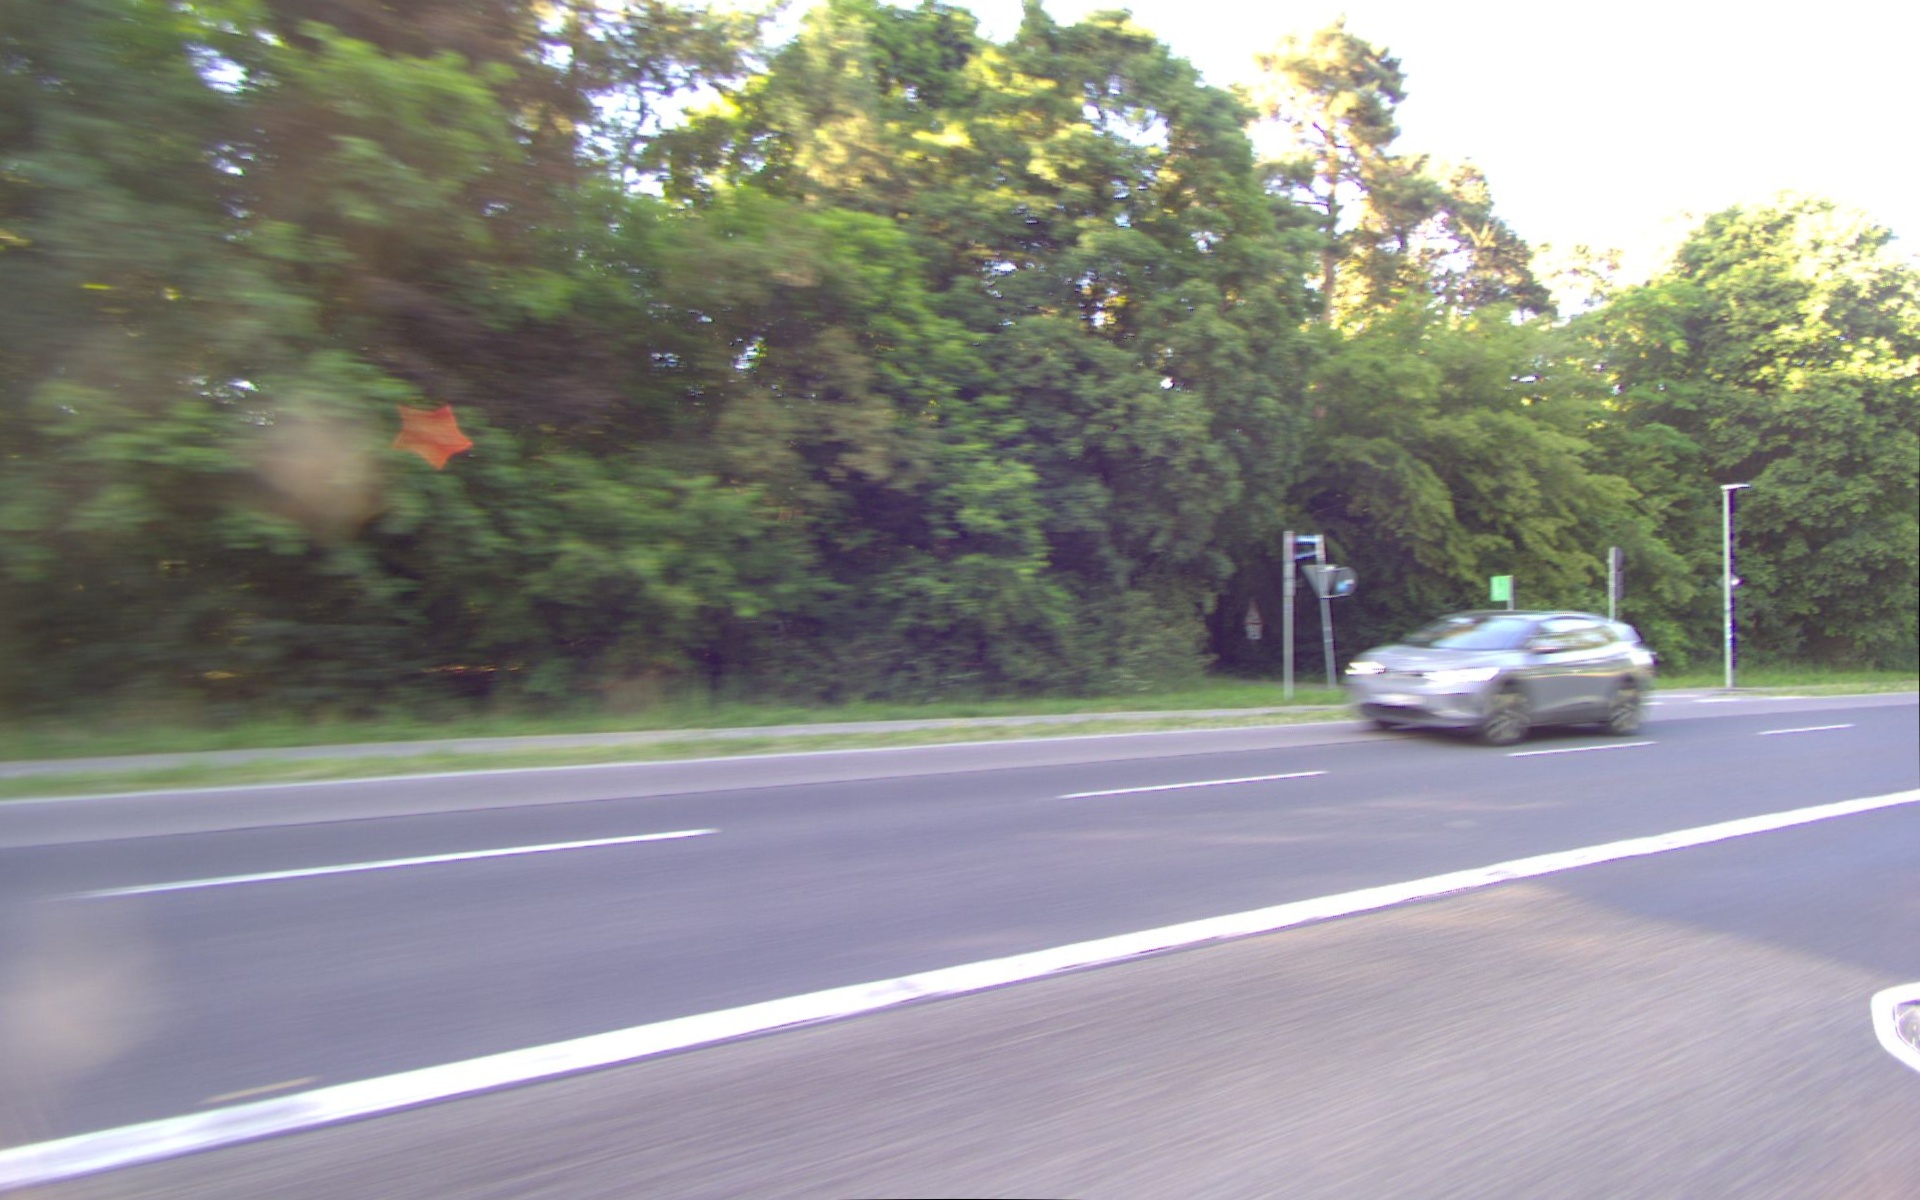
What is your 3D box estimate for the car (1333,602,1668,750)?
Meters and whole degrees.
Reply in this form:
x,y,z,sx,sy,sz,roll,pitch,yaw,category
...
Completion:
x,y,z,sx,sy,sz,roll,pitch,yaw,category
7.194,0.913,13.283,4.398,1.632,1.886,2,1,-31,car
